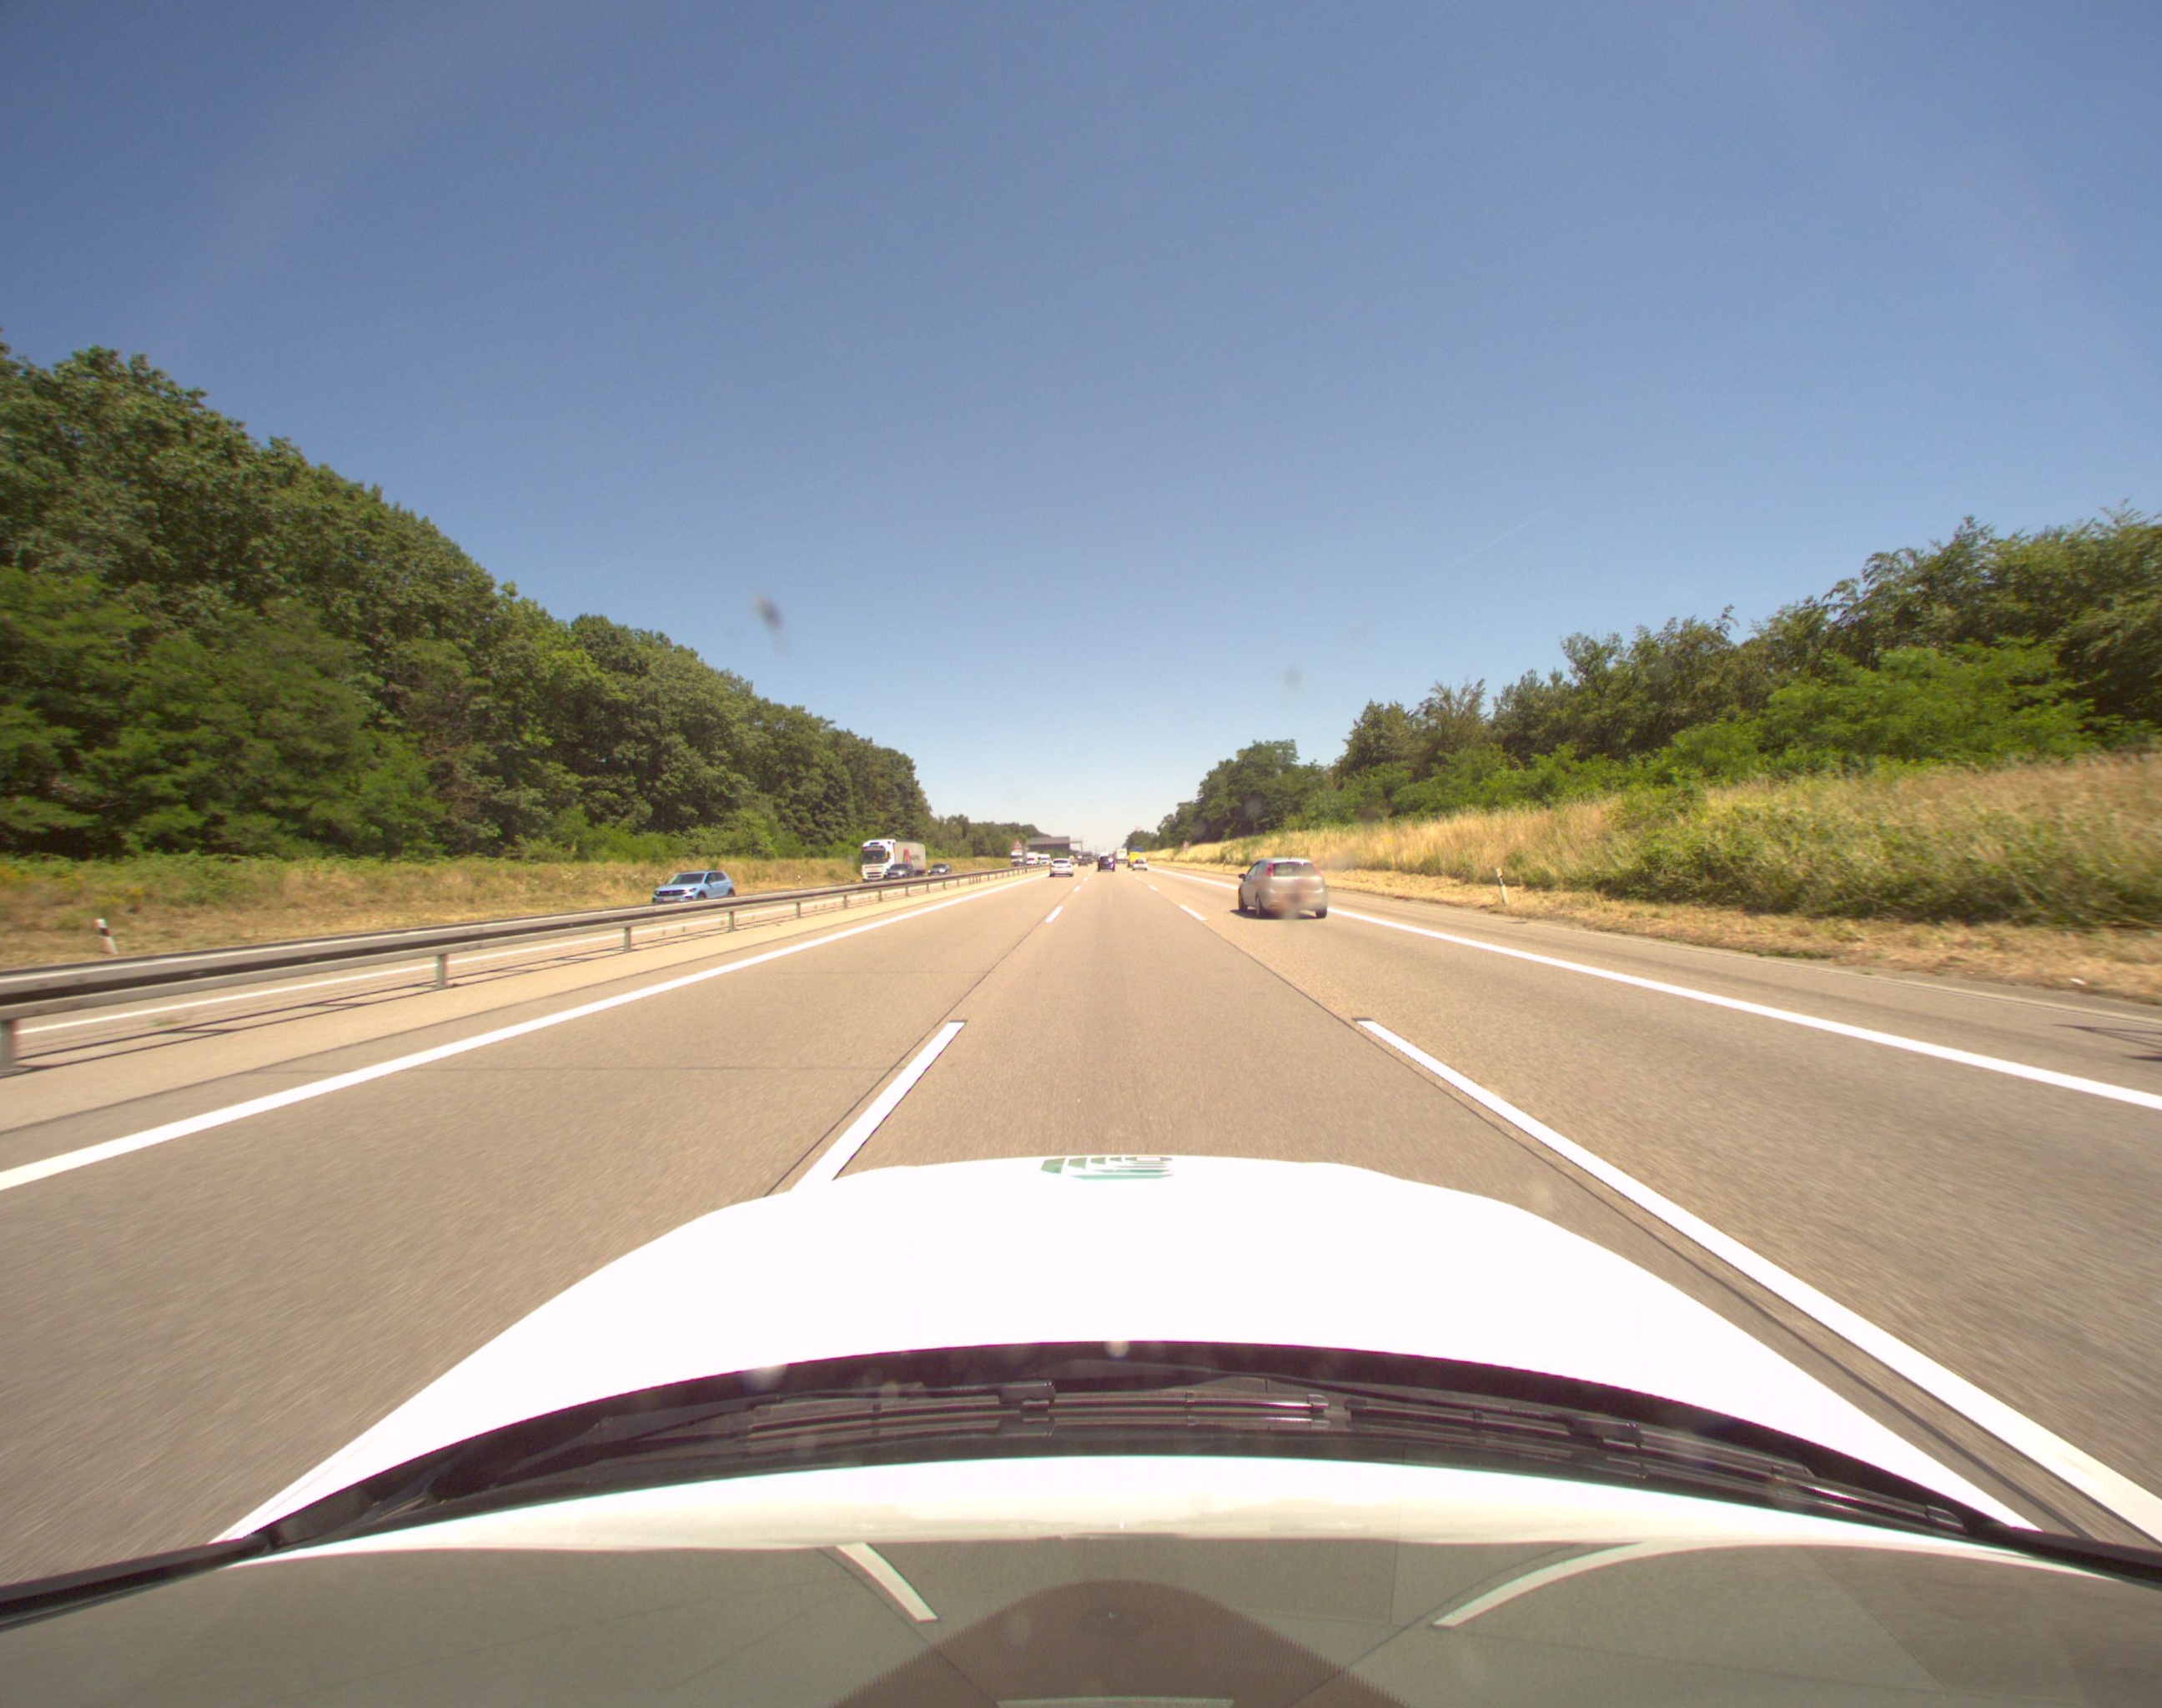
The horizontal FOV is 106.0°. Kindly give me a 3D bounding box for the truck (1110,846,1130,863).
[{"bbox_3d":[10.030,0.142,211.611,3.986,4.315,9.863,1,0,-5],"label":"truck"}]

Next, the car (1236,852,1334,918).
[{"bbox_3d":[5.142,0.724,20.956,1.712,1.491,3.739,0,1,2],"label":"car"}]

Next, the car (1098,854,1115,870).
[{"bbox_3d":[2.817,0.889,90.121,1.826,1.672,3.999,0,0,0],"label":"car"}]

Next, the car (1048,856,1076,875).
[{"bbox_3d":[-1.506,0.939,66.938,1.956,1.503,5.406,-1,0,1],"label":"car"}]

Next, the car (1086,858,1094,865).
[{"bbox_3d":[2.311,1.840,201.312,1.868,1.580,3.931,-1,1,3],"label":"car"}]

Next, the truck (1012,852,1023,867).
[{"bbox_3d":[-15.110,1.286,194.388,2.111,3.344,4.001,-2,0,1],"label":"truck"}]

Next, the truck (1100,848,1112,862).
[{"bbox_3d":[5.712,0.251,184.713,2.421,2.884,6.204,0,-1,0],"label":"truck"}]

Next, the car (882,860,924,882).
[{"bbox_3d":[-14.092,1.319,64.764,1.986,1.567,5.192,-4,0,2],"label":"car"}]

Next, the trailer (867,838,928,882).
[{"bbox_3d":[-18.708,0.588,83.995,2.901,3.992,12.959,-4,0,1],"label":"trailer"}]

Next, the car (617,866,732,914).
[{"bbox_3d":[-15.637,1.340,31.637,1.986,1.567,4.530,-4,0,2],"label":"car"}]

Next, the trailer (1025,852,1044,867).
[{"bbox_3d":[-10.866,1.328,192.879,3.422,3.344,12.025,-2,0,1],"label":"trailer"}]

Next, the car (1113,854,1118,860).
[{"bbox_3d":[11.020,0.964,259.182,1.551,2.014,3.901,1,0,0],"label":"car"}]

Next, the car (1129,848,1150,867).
[{"bbox_3d":[8.578,0.541,120.901,2.658,2.634,6.112,0,-1,0],"label":"car"}]

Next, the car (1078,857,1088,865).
[{"bbox_3d":[0.405,1.321,151.276,1.825,1.431,5.001,-1,0,2],"label":"car"}]

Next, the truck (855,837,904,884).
[{"bbox_3d":[-18.833,0.598,76.591,2.894,4.067,5.654,-4,0,1],"label":"truck"}]

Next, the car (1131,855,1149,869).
[{"bbox_3d":[6.755,0.906,93.556,1.815,1.491,3.737,0,-1,1],"label":"car"}]

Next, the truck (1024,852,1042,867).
[{"bbox_3d":[-10.992,1.311,187.202,3.422,3.344,5.238,-2,0,1],"label":"truck"}]

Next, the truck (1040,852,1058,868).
[{"bbox_3d":[-7.186,1.348,185.645,3.422,3.344,10.574,-2,0,1],"label":"truck"}]

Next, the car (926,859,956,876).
[{"bbox_3d":[-14.405,1.373,84.210,1.986,1.567,5.192,-4,0,2],"label":"car"}]
